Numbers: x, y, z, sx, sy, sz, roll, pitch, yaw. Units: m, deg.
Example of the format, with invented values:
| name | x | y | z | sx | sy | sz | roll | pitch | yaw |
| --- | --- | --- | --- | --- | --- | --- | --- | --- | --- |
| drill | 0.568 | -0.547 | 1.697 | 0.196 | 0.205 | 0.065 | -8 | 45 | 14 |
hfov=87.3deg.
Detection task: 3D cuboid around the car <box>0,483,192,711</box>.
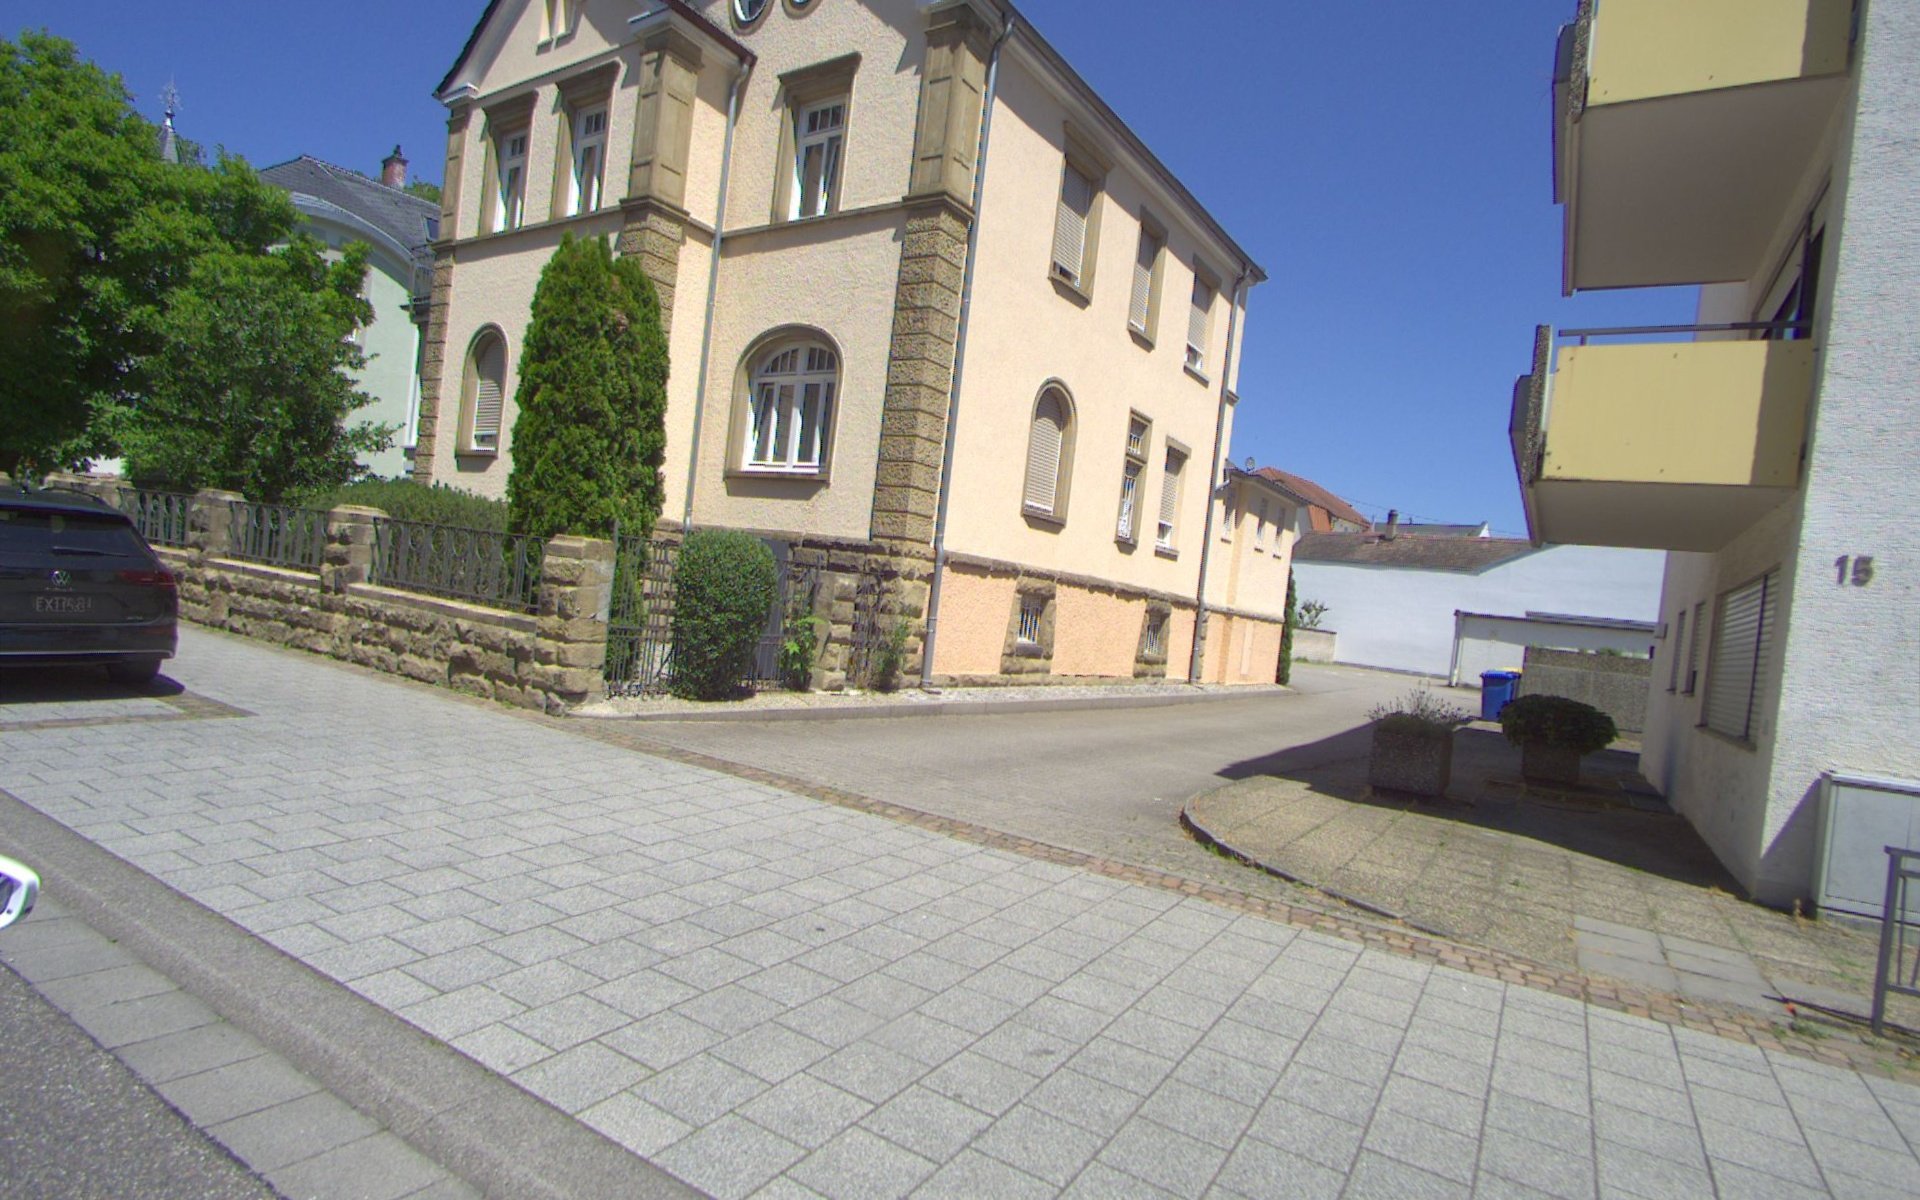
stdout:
| name | x | y | z | sx | sy | sz | roll | pitch | yaw |
| --- | --- | --- | --- | --- | --- | --- | --- | --- | --- |
| car | -7.998 | -0.207 | 7.940 | 4.325 | 1.466 | 1.631 | 7 | 3 | 32 |
